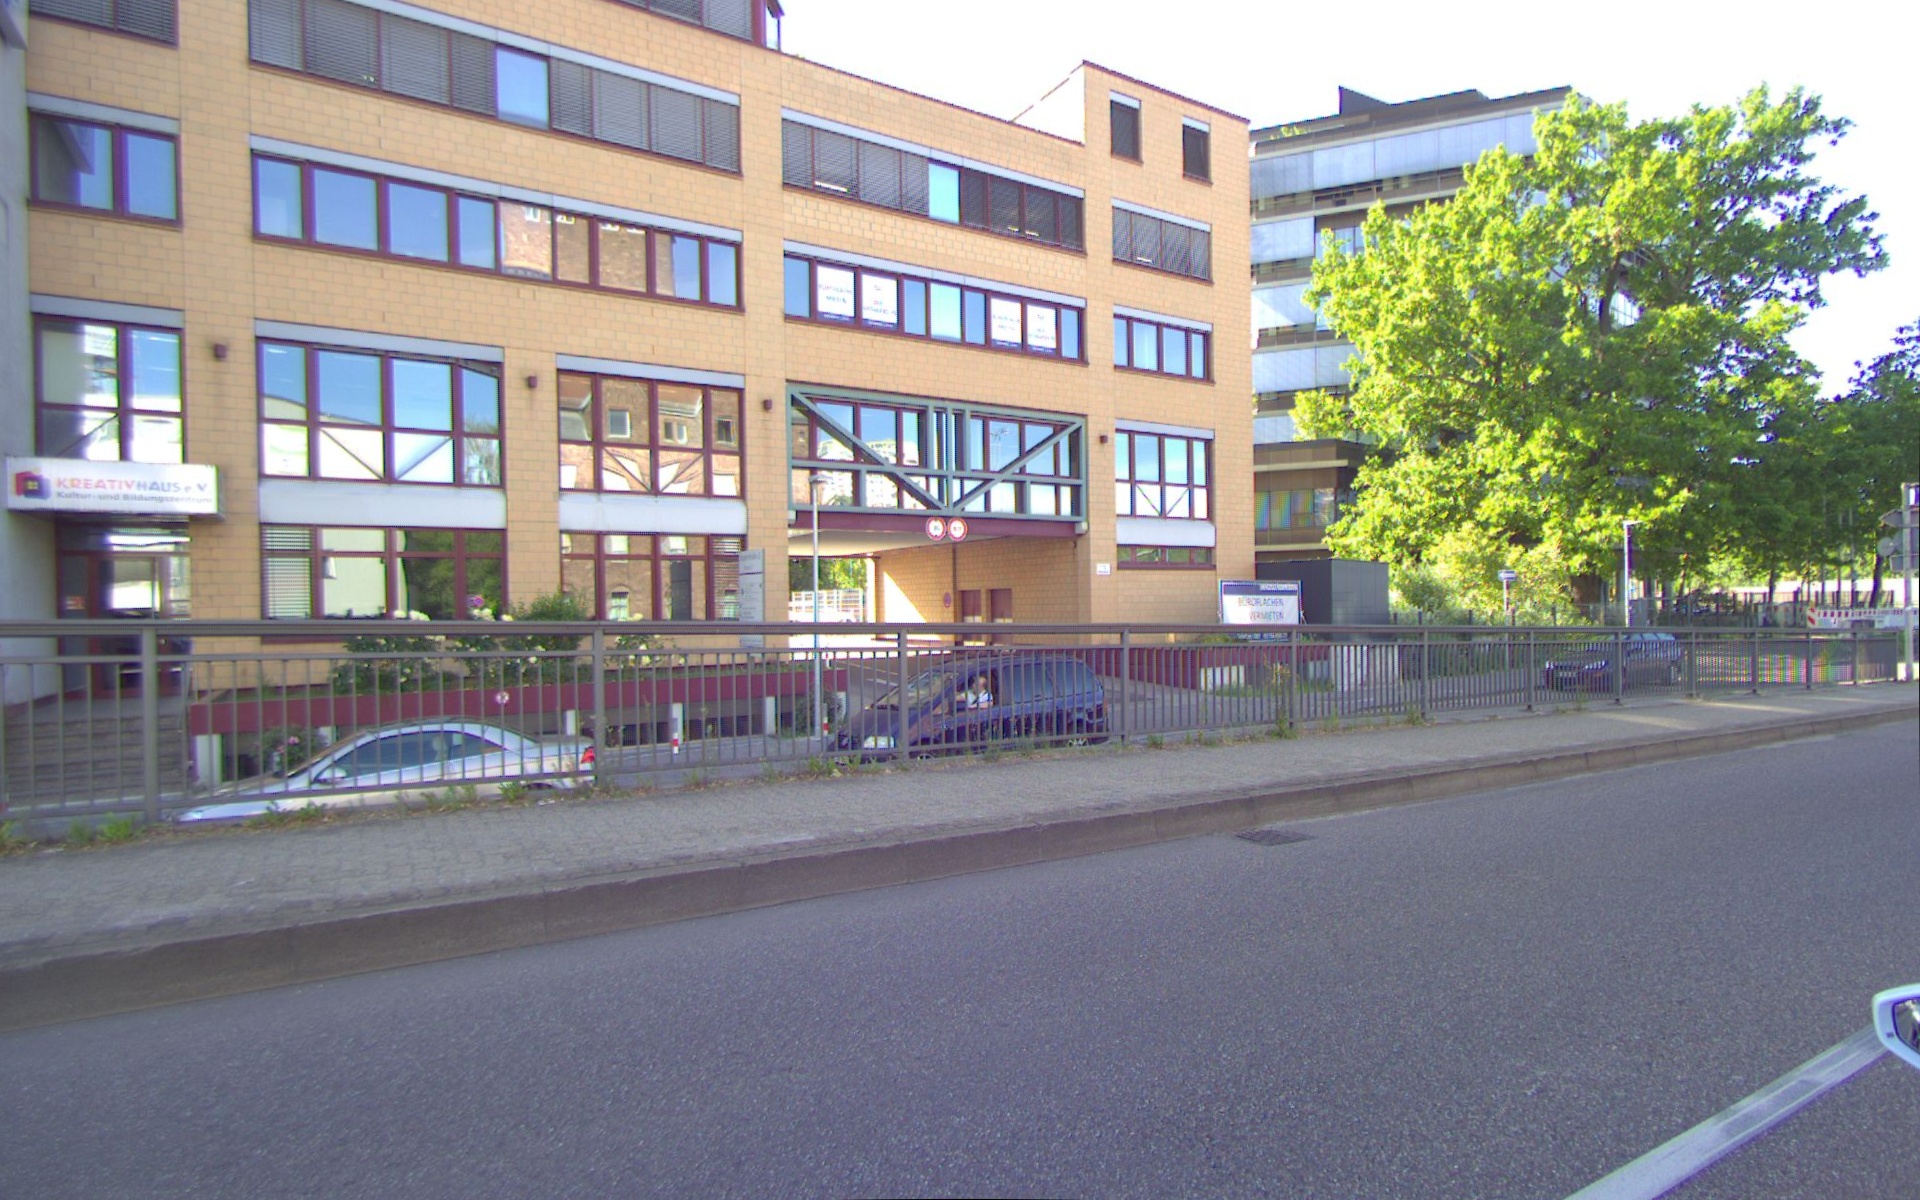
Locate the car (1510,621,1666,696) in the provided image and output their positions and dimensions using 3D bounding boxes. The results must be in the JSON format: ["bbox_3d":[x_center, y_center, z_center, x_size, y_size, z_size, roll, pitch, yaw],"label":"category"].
[{"bbox_3d":[16.431,1.464,26.267,3.953,1.715,1.843,-1,0,-30],"label":"car"}]

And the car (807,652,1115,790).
[{"bbox_3d":[0.107,1.695,15.243,4.541,1.669,1.710,0,-2,-35],"label":"car"}]

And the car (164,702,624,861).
[{"bbox_3d":[-6.138,1.895,11.300,4.210,1.181,1.713,0,-2,-32],"label":"car"}]

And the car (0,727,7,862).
[{"bbox_3d":[-10.638,1.878,8.281,3.766,1.286,1.567,0,-2,-32],"label":"car"}]
